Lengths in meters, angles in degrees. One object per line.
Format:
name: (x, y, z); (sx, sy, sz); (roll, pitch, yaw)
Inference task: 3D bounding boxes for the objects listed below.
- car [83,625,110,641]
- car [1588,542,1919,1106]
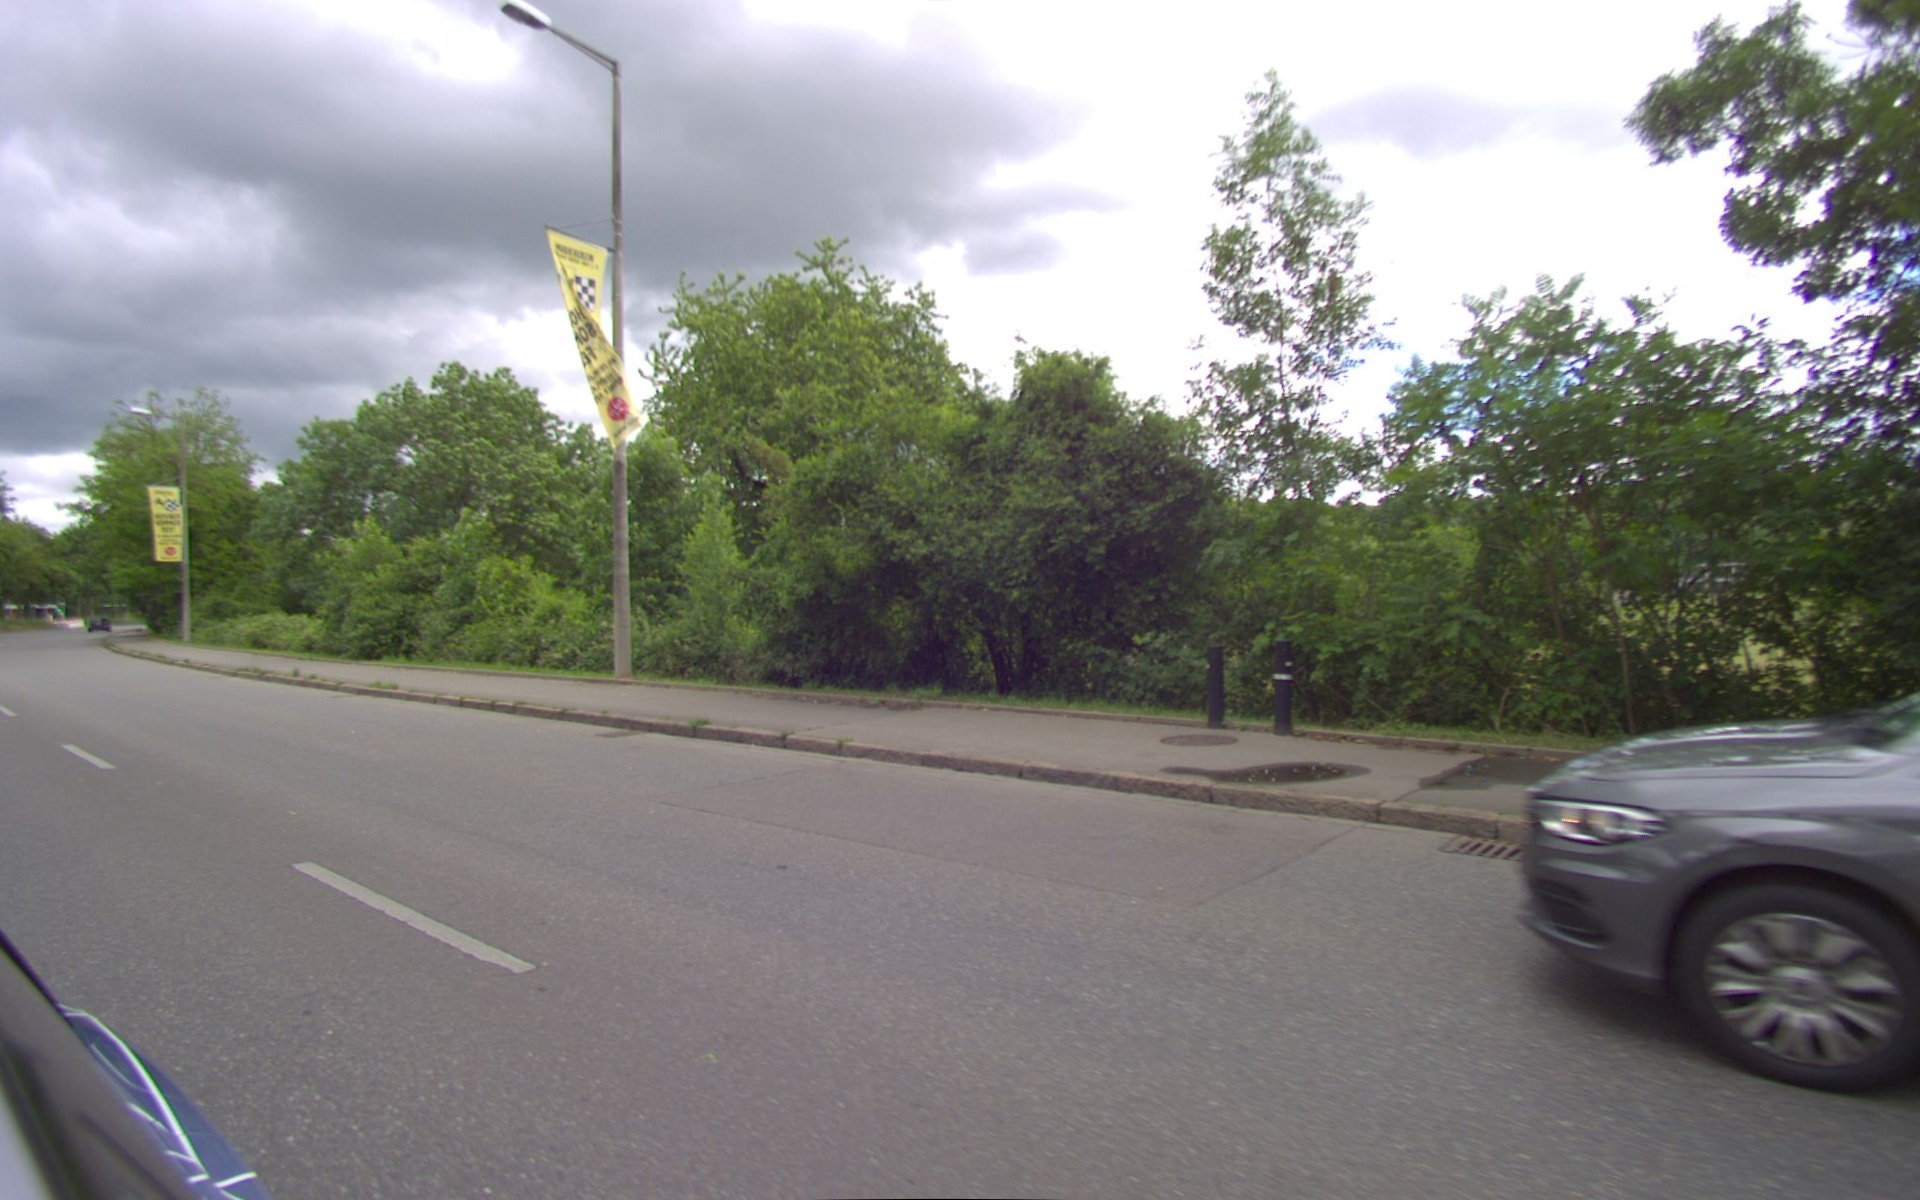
car: (-87.434, 3.335, 102.490); (1.771, 1.420, 4.009); (-3, 1, -37)
car: (4.264, 0.579, 2.621); (4.275, 1.516, 1.974); (-1, 0, 39)
